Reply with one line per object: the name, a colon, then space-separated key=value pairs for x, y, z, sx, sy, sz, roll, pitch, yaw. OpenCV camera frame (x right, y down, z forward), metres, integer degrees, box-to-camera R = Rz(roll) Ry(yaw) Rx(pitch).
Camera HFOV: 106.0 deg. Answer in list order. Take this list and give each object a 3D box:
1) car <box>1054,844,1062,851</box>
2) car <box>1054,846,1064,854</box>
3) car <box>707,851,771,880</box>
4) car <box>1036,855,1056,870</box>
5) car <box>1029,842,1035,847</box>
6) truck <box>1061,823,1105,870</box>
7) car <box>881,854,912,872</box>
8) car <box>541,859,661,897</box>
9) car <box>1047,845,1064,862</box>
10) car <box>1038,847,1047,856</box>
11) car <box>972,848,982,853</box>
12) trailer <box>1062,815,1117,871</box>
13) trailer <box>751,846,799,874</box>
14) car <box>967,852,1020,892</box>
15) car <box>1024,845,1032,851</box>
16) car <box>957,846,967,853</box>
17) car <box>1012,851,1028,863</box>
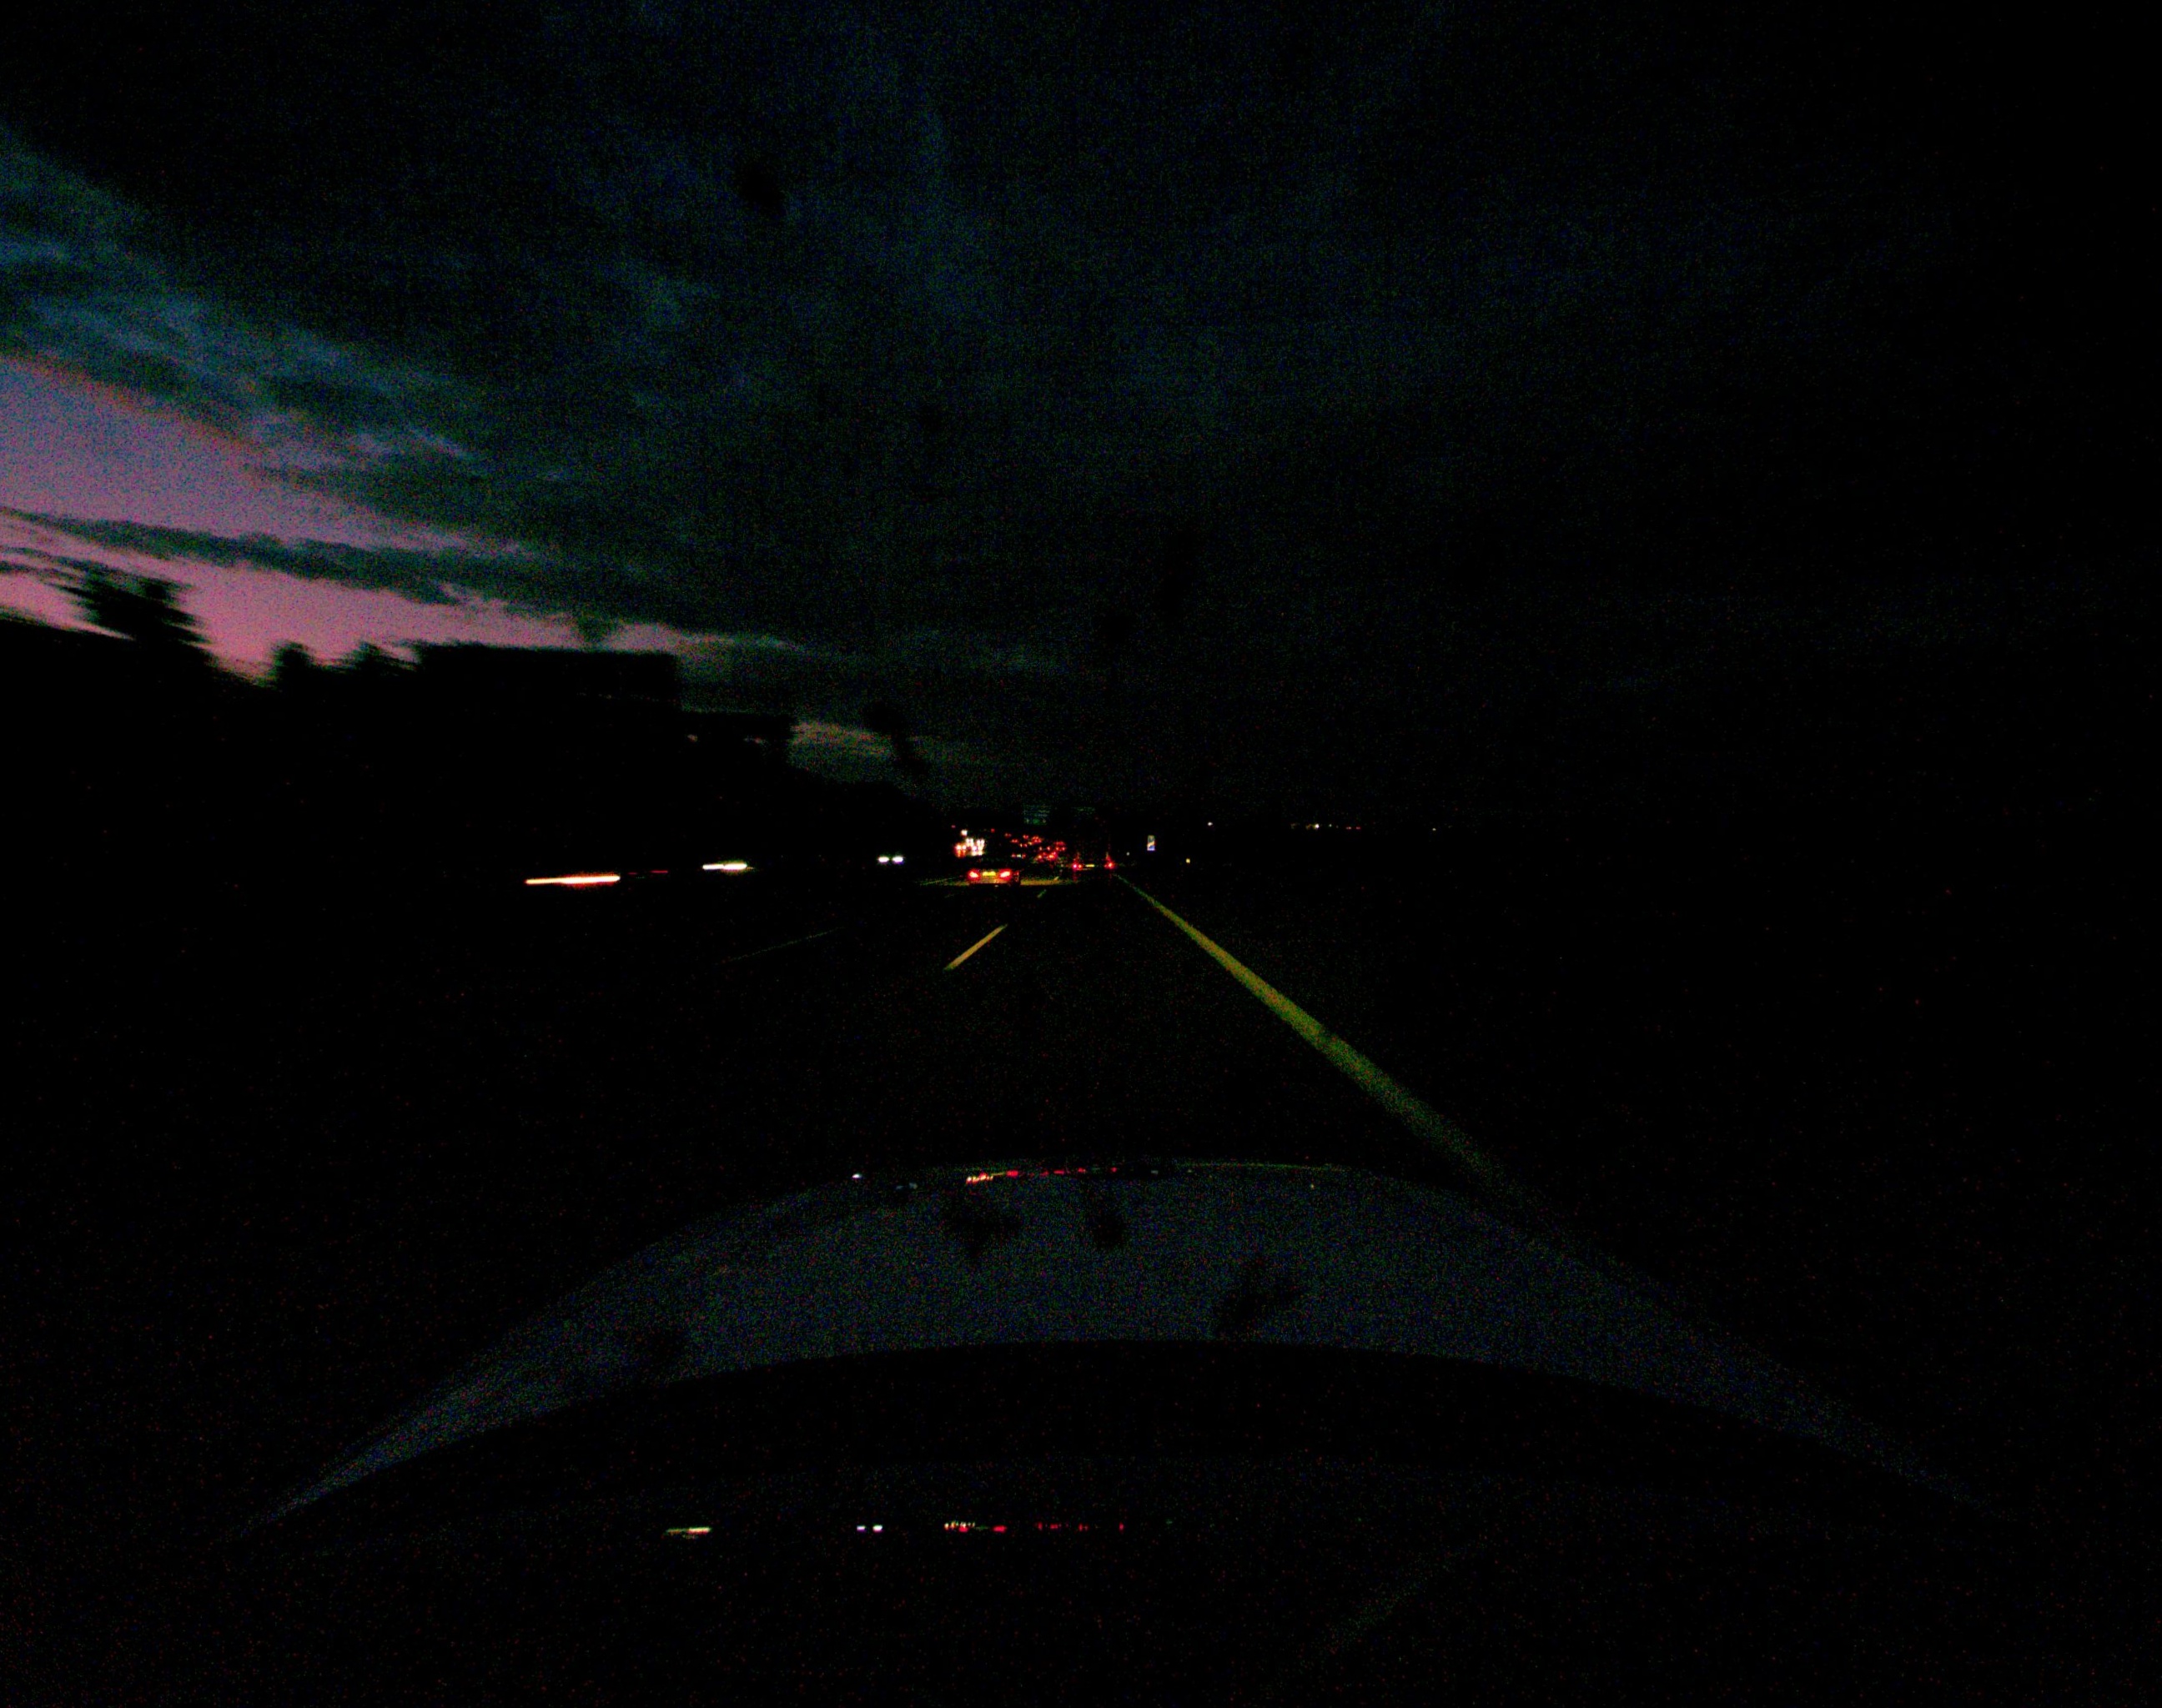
car: x=-6.529 y=-1.911 z=232.195 sx=1.989 sy=1.978 sz=3.995 roll=0 pitch=0 yaw=-3
car: x=-4.697 y=-0.866 z=175.328 sx=1.988 sy=1.534 sz=3.997 roll=0 pitch=0 yaw=-2
car: x=-23.001 y=0.742 z=55.011 sx=1.906 sy=1.867 sz=5.525 roll=0 pitch=0 yaw=1
car: x=-4.055 y=0.950 z=94.985 sx=2.058 sy=1.686 sz=4.576 roll=0 pitch=0 yaw=0
car: x=-15.555 y=-2.905 z=258.348 sx=1.990 sy=1.622 sz=3.993 roll=0 pitch=0 yaw=-5
truck: x=0.105 y=-0.621 z=73.131 sx=3.543 sy=4.091 sz=6.143 roll=0 pitch=-1 yaw=-4
car: x=-19.000 y=0.909 z=84.258 sx=1.907 sy=1.867 sz=6.013 roll=0 pitch=0 yaw=-1
car: x=-18.574 y=0.874 z=31.809 sx=1.683 sy=1.354 sz=4.898 roll=0 pitch=0 yaw=1
car: x=-3.578 y=-0.048 z=114.474 sx=1.993 sy=2.380 sz=3.988 roll=0 pitch=0 yaw=-8
car: x=-7.977 y=-0.517 z=169.318 sx=1.989 sy=2.014 sz=3.996 roll=0 pitch=0 yaw=-3
car: x=-25.364 y=-0.935 z=198.854 sx=2.054 sy=1.226 sz=5.231 roll=0 pitch=0 yaw=-1
trailer: x=0.440 y=-0.702 z=67.058 sx=3.542 sy=4.116 sz=15.044 roll=0 pitch=-1 yaw=-3
trailer: x=-23.087 y=0.411 z=61.560 sx=1.906 sy=2.002 sz=4.241 roll=1 pitch=0 yaw=1
car: x=-3.660 y=0.724 z=34.701 sx=1.901 sy=1.614 sz=4.800 roll=0 pitch=0 yaw=-2
car: x=-14.901 y=-1.799 z=229.246 sx=1.988 sy=1.622 sz=3.997 roll=0 pitch=0 yaw=-2
car: x=-30.765 y=-1.174 z=210.809 sx=1.989 sy=1.893 sz=5.053 roll=0 pitch=0 yaw=-3
car: x=-8.171 y=0.348 z=109.020 sx=1.756 sy=1.575 sz=4.575 roll=0 pitch=0 yaw=0
